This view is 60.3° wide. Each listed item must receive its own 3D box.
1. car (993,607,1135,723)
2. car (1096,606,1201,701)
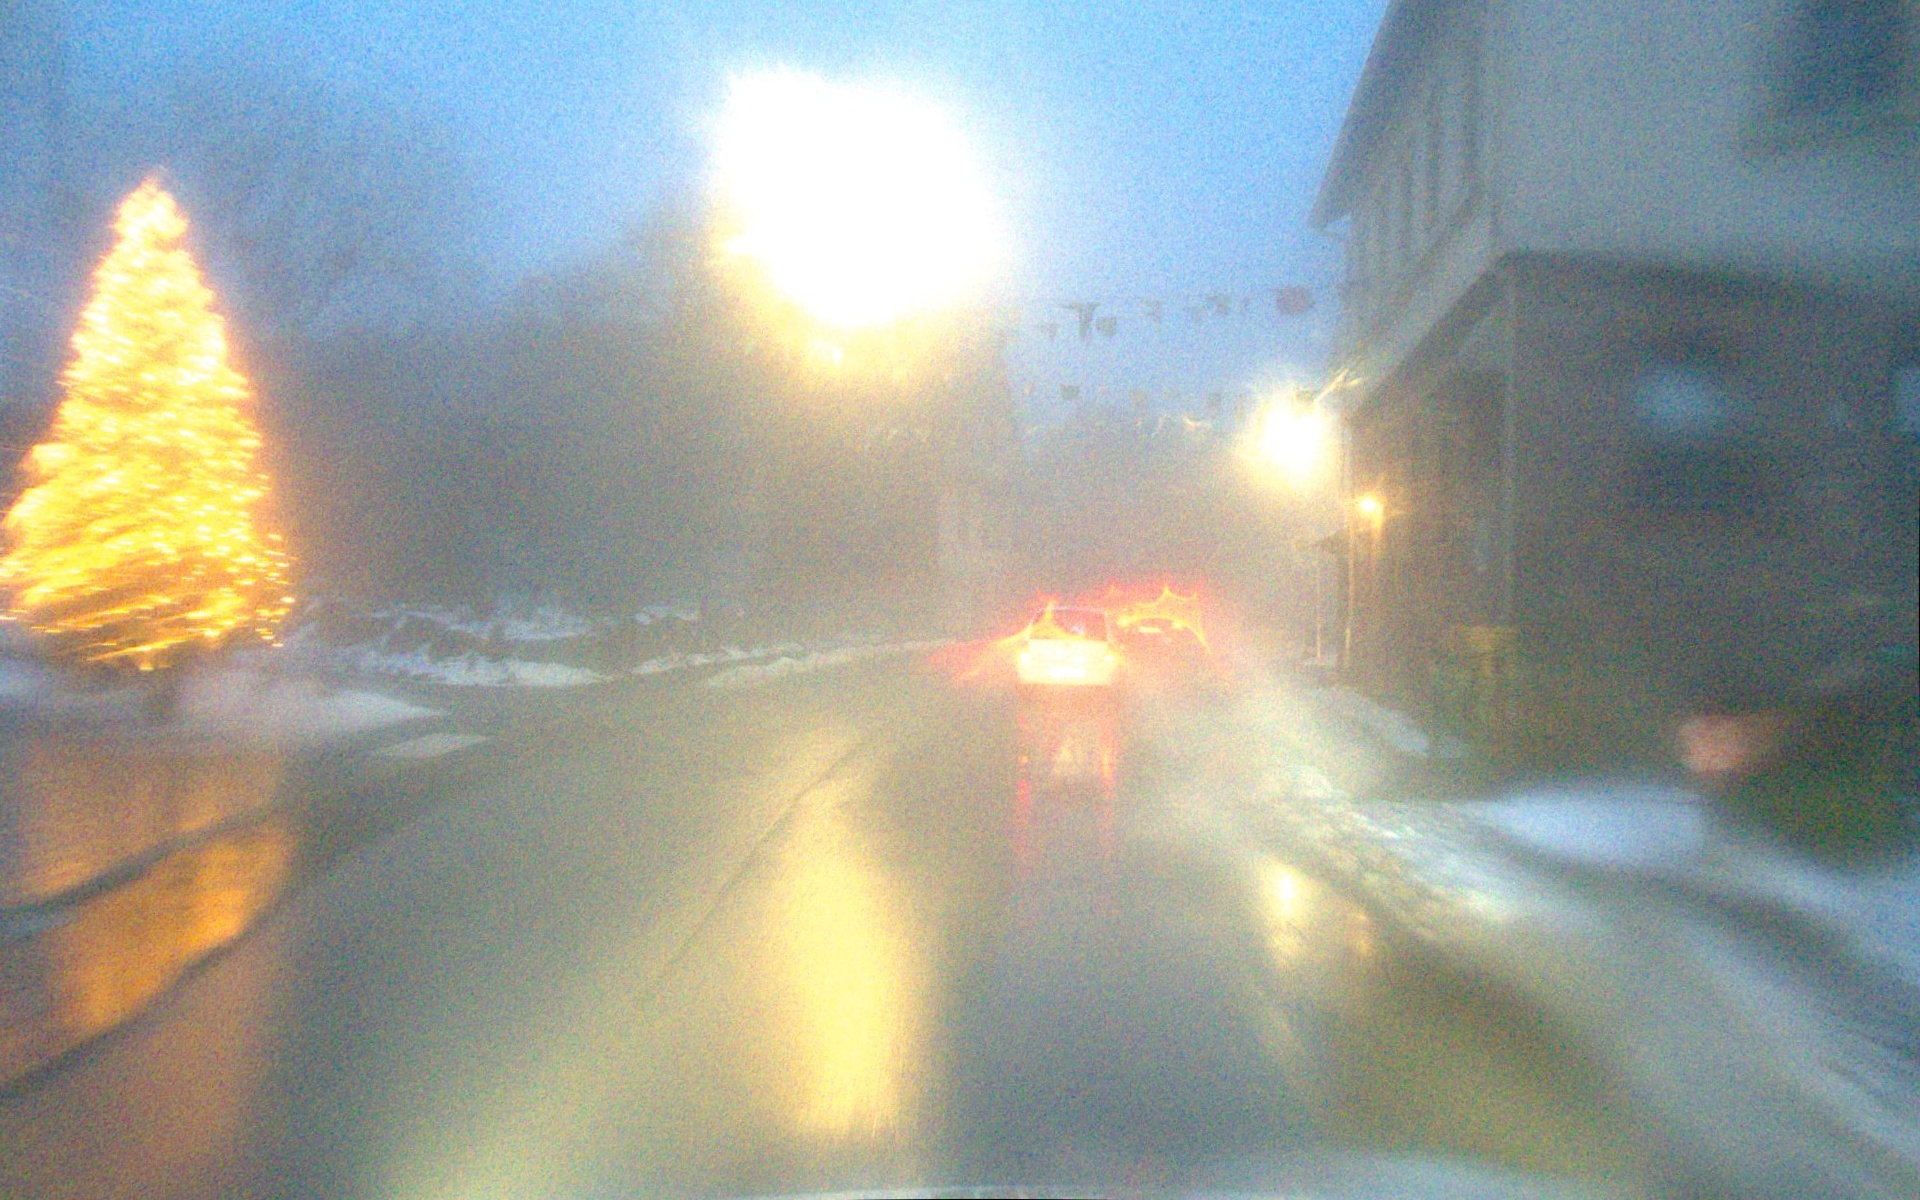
[{"bbox_3d":[1.671,1.029,25.987,1.952,1.534,4.001,4,-2,5],"label":"car"},{"bbox_3d":[4.604,1.341,39.919,1.951,2.049,4.002,4,-3,13],"label":"car"}]
